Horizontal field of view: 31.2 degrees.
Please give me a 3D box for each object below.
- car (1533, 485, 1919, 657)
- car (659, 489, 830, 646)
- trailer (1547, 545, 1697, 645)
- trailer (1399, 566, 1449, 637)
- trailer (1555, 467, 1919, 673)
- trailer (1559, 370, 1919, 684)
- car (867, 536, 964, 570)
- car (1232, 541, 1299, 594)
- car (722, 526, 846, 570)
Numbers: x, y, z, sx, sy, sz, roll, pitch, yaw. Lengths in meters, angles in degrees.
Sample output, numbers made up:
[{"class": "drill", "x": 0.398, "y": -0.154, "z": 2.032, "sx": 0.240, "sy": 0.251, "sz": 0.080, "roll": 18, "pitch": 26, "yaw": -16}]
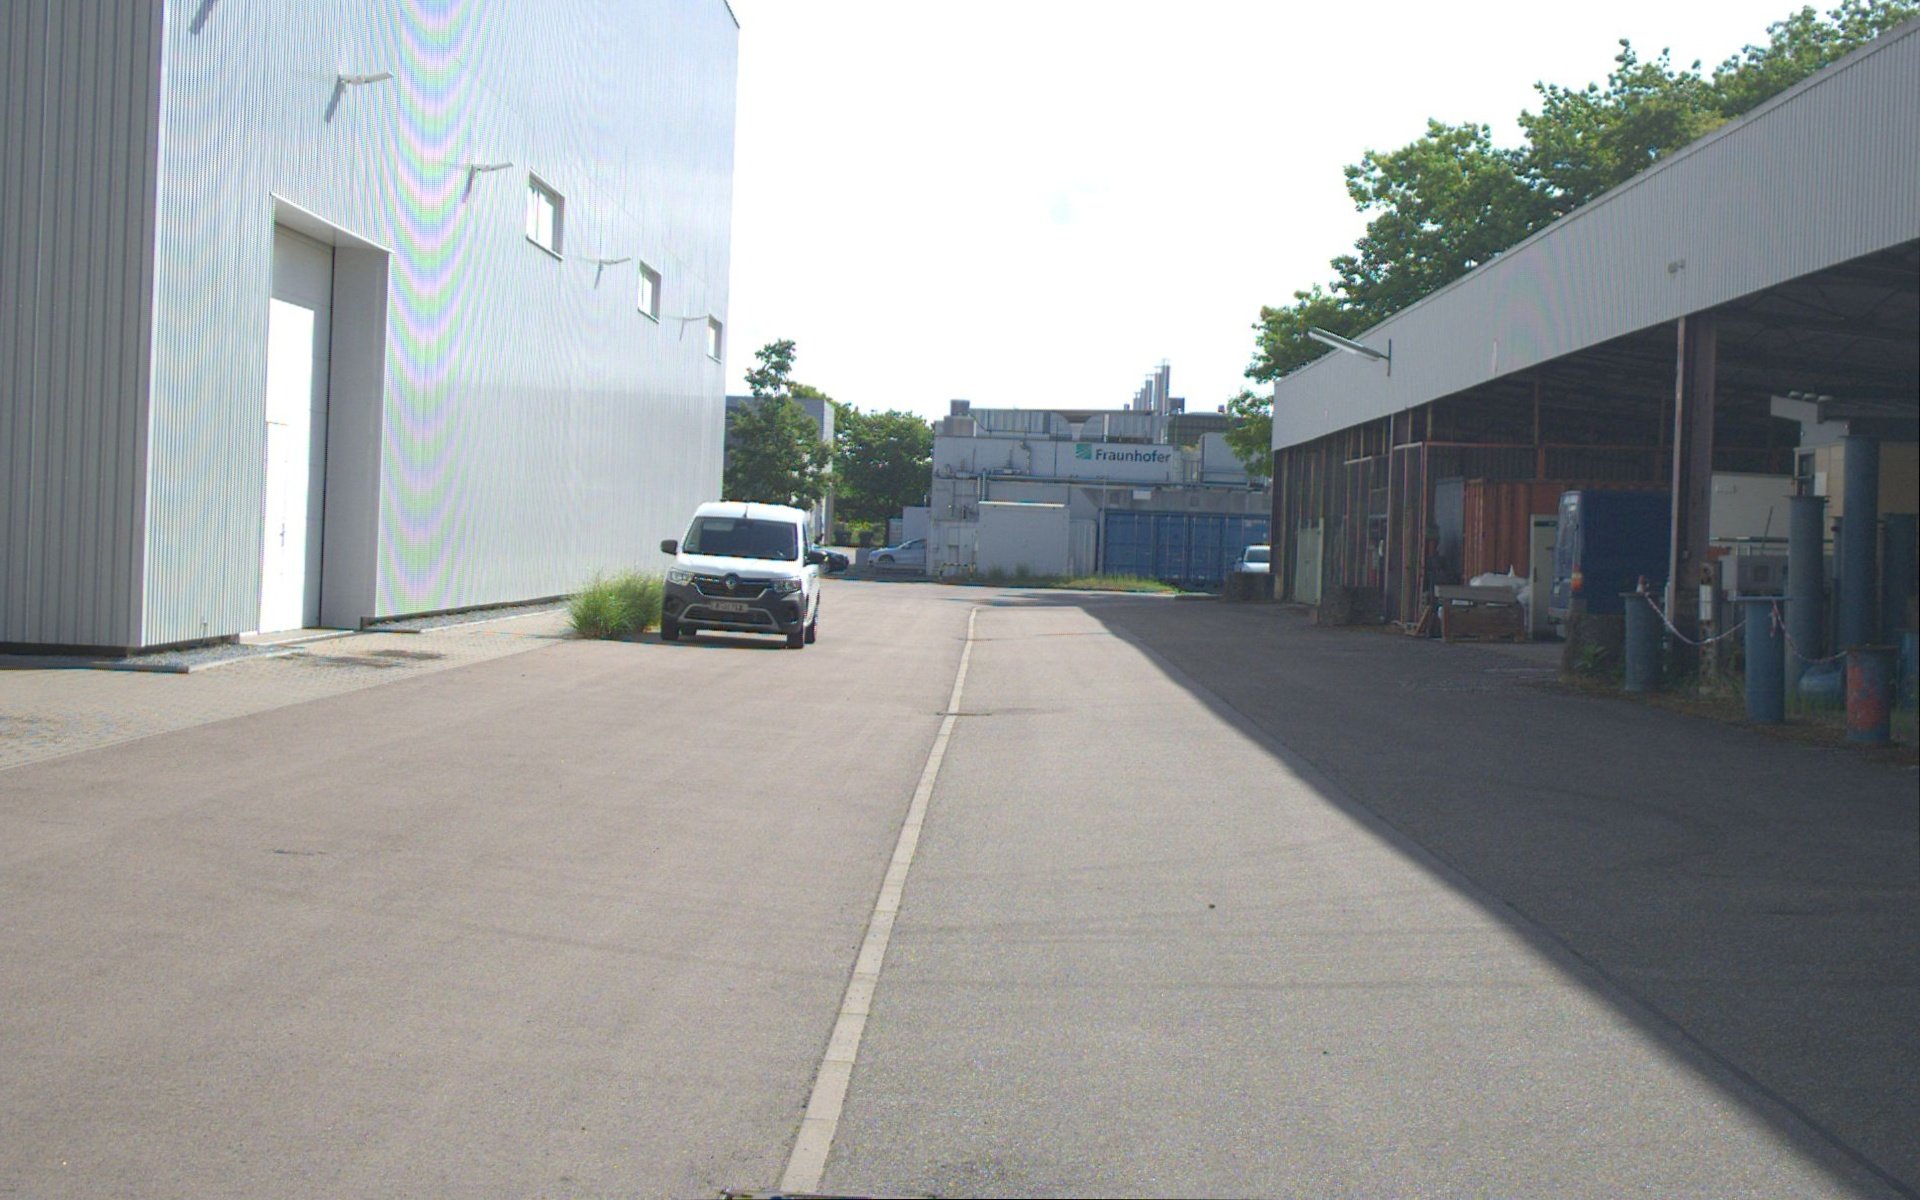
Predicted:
[{"class": "car", "x": 11.136, "y": -0.415, "z": 49.526, "sx": 5.332, "sy": 2.273, "sz": 2.153, "roll": 2, "pitch": 0, "yaw": 0}, {"class": "car", "x": -2.740, "y": -0.423, "z": 44.561, "sx": 1.783, "sy": 1.809, "sz": 4.601, "roll": 4, "pitch": 1, "yaw": 0}, {"class": "trailer", "x": 10.027, "y": -0.094, "z": 52.163, "sx": 2.038, "sy": 1.461, "sz": 1.738, "roll": 1, "pitch": 1, "yaw": 5}, {"class": "trailer", "x": 7.461, "y": 0.011, "z": 55.320, "sx": 0.552, "sy": 1.114, "sz": 1.547, "roll": 1, "pitch": 1, "yaw": -1}, {"class": "trailer", "x": 9.489, "y": -0.352, "z": 40.757, "sx": 4.516, "sy": 2.334, "sz": 2.047, "roll": 1, "pitch": 0, "yaw": 2}, {"class": "trailer", "x": 12.048, "y": -0.763, "z": 38.209, "sx": 10.268, "sy": 3.331, "sz": 2.801, "roll": 1, "pitch": 1, "yaw": 1}, {"class": "car", "x": -1.987, "y": -2.121, "z": 154.404, "sx": 4.302, "sy": 1.452, "sz": 1.824, "roll": 1, "pitch": 0, "yaw": 0}, {"class": "car", "x": 10.098, "y": -1.088, "z": 113.845, "sx": 1.979, "sy": 1.597, "sz": 4.377, "roll": 1, "pitch": 2, "yaw": 2}, {"class": "car", "x": -6.456, "y": -1.916, "z": 126.581, "sx": 4.447, "sy": 1.525, "sz": 1.824, "roll": 1, "pitch": 0, "yaw": 0}]
